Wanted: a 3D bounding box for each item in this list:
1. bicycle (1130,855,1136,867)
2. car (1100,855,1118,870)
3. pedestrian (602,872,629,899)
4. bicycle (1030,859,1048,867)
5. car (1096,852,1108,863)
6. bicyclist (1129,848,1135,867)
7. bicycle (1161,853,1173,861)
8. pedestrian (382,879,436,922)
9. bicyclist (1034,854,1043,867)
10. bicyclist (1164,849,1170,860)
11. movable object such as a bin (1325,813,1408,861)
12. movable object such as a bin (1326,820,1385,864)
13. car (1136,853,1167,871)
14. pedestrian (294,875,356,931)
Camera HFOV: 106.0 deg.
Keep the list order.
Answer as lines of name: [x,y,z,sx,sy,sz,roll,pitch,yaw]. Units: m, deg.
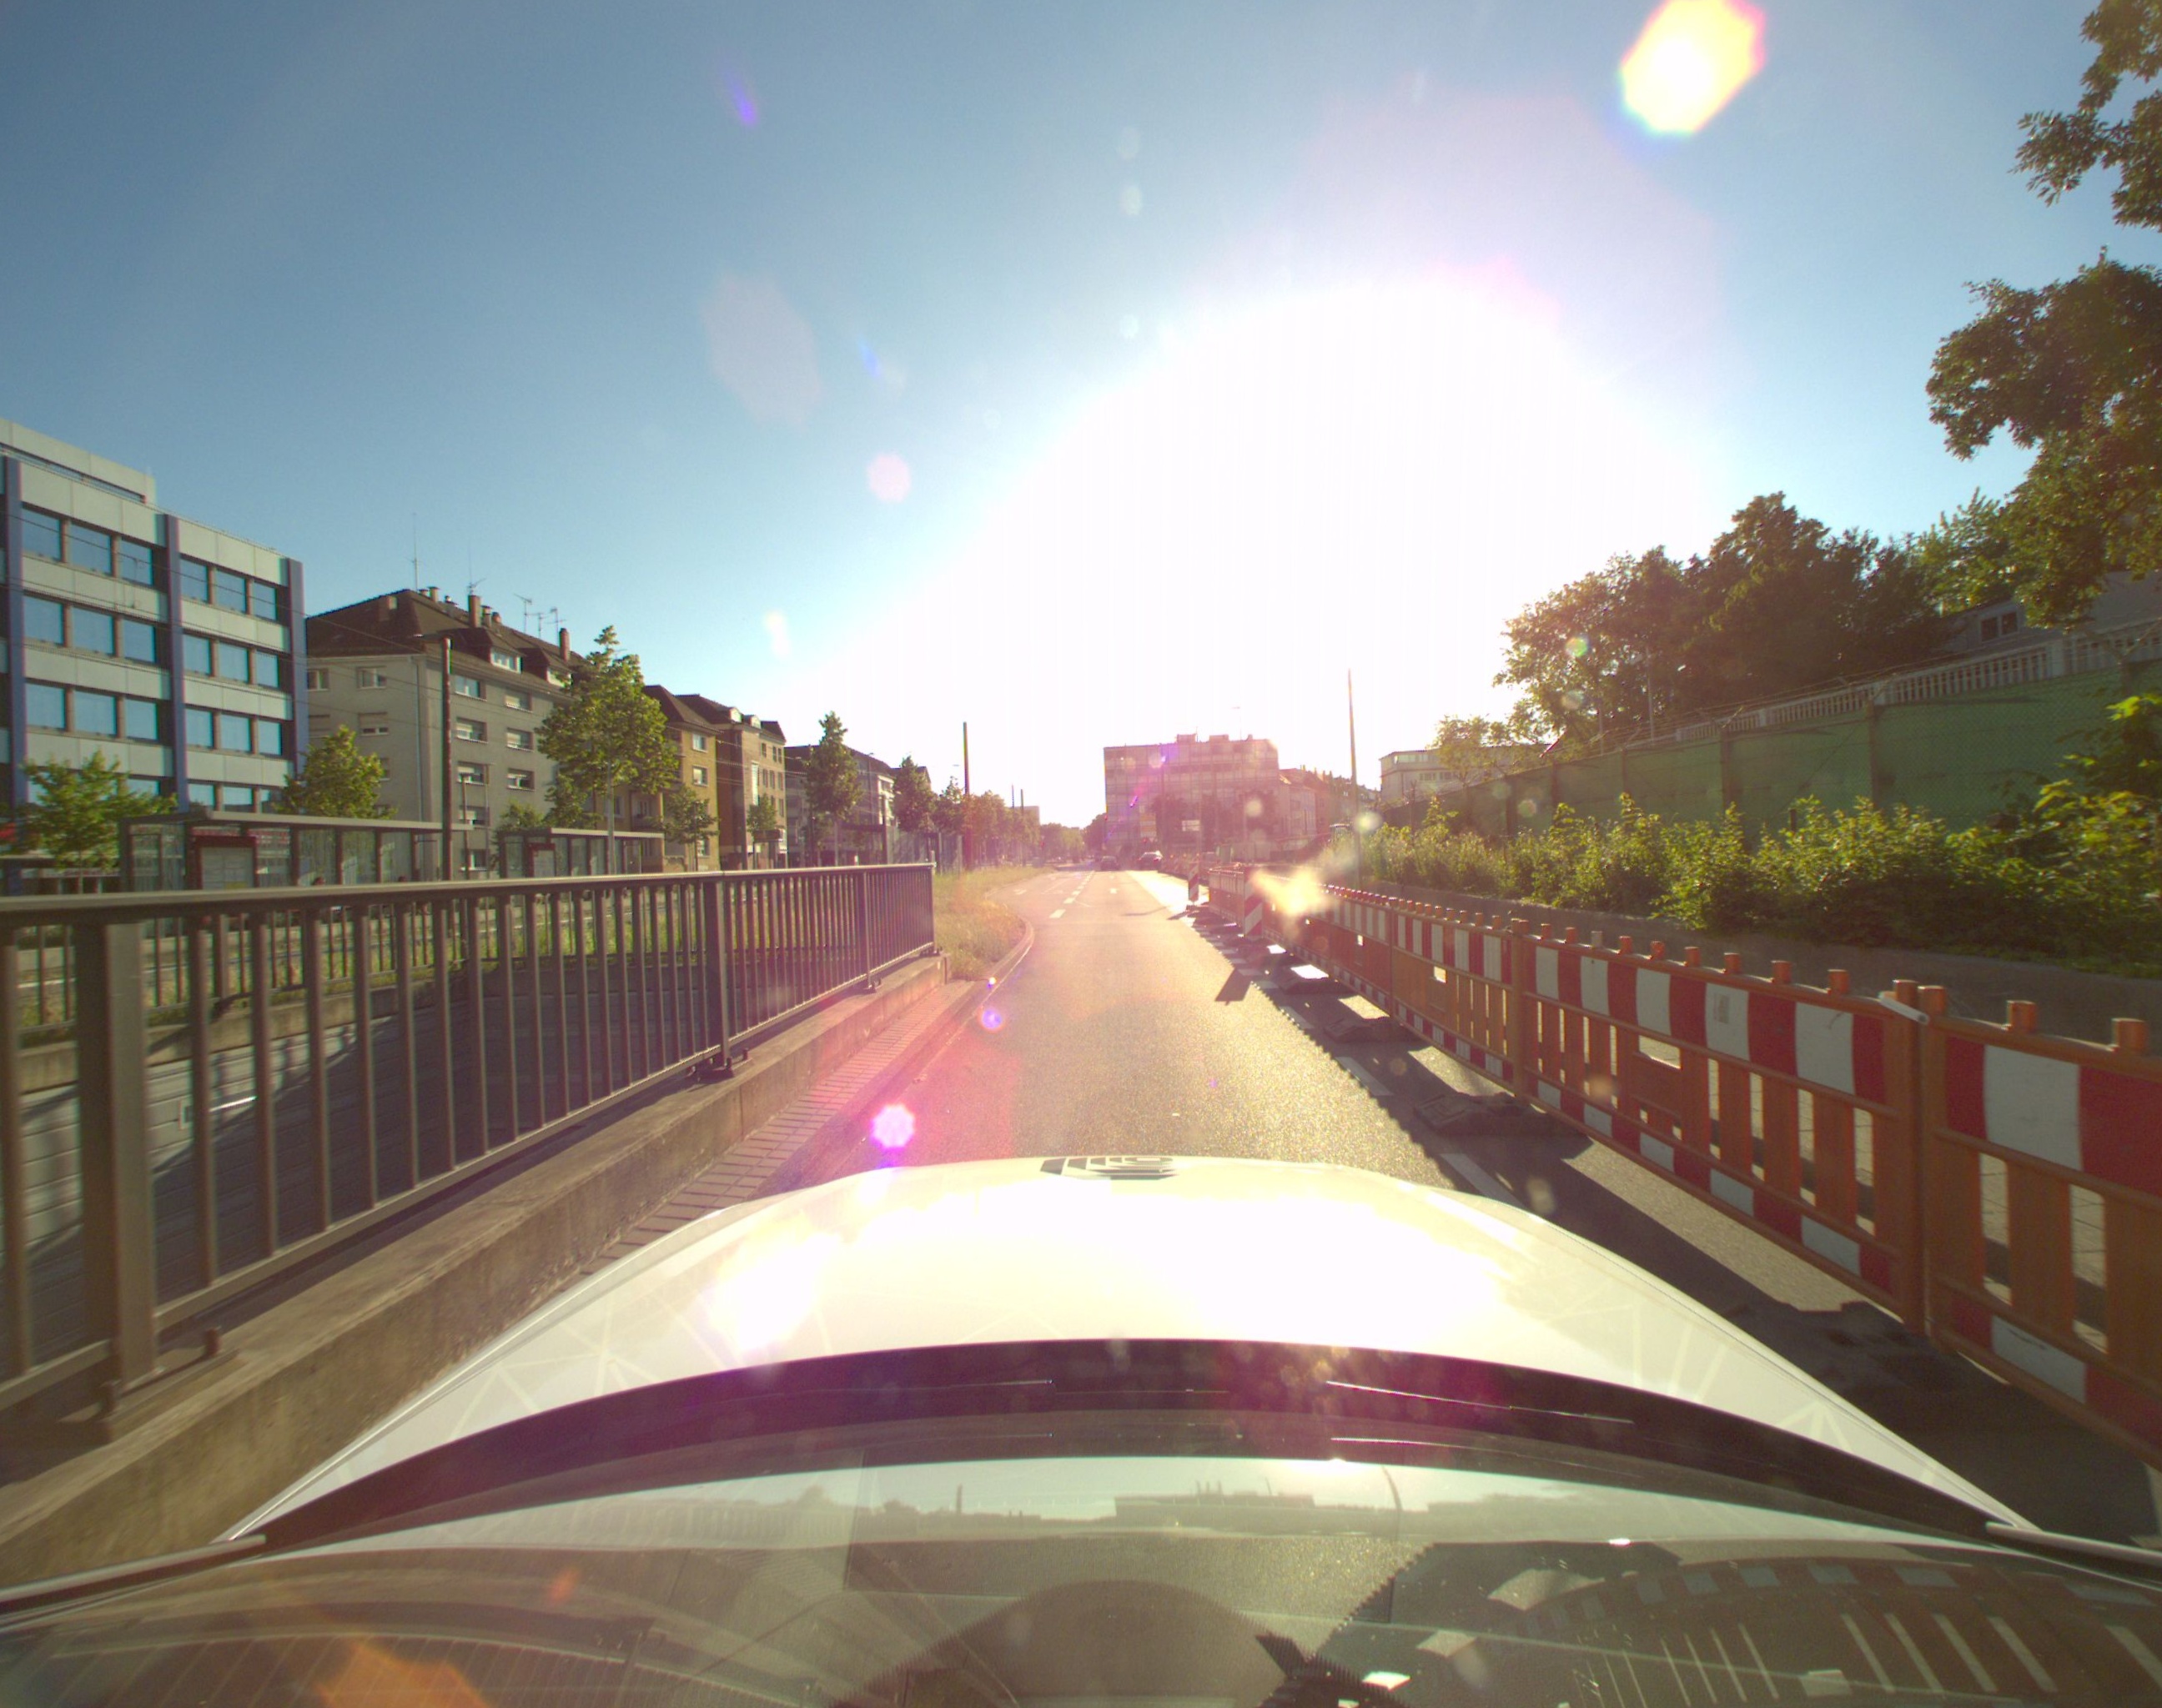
bicycle: [5.655,0.741,88.215,0.642,1.223,2.050,-1,1,2]
car: [2.762,0.821,81.616,1.737,1.426,4.001,-2,0,1]
pedestrian: [-19.496,1.317,34.146,0.625,1.047,0.794,-3,0,1]
bicycle: [-5.229,1.116,101.604,2.216,1.026,0.683,-2,-1,4]
car: [4.828,0.831,186.081,2.477,2.392,5.935,-4,-1,1]
bicyclist: [5.550,0.340,88.217,0.641,2.013,1.068,-1,1,2]
bicycle: [13.075,0.435,123.951,1.775,1.072,0.533,-3,-1,-9]
pedestrian: [-19.975,1.379,24.232,0.930,1.197,0.764,-3,0,1]
bicyclist: [-5.294,0.801,101.610,0.954,1.661,0.692,-2,-1,4]
bicyclist: [13.131,0.112,123.968,0.663,1.712,0.537,-3,-1,-9]
movable object such as a bin: [23.595,-1.369,67.220,6.004,3.557,2.879,-2,0,26]
movable object such as a bin: [18.138,-0.778,54.114,2.268,2.704,4.943,-2,0,1]
car: [7.099,0.814,81.623,1.976,1.693,4.023,-1,1,23]
pedestrian: [-20.087,1.298,21.661,0.835,1.410,0.804,-3,0,1]
